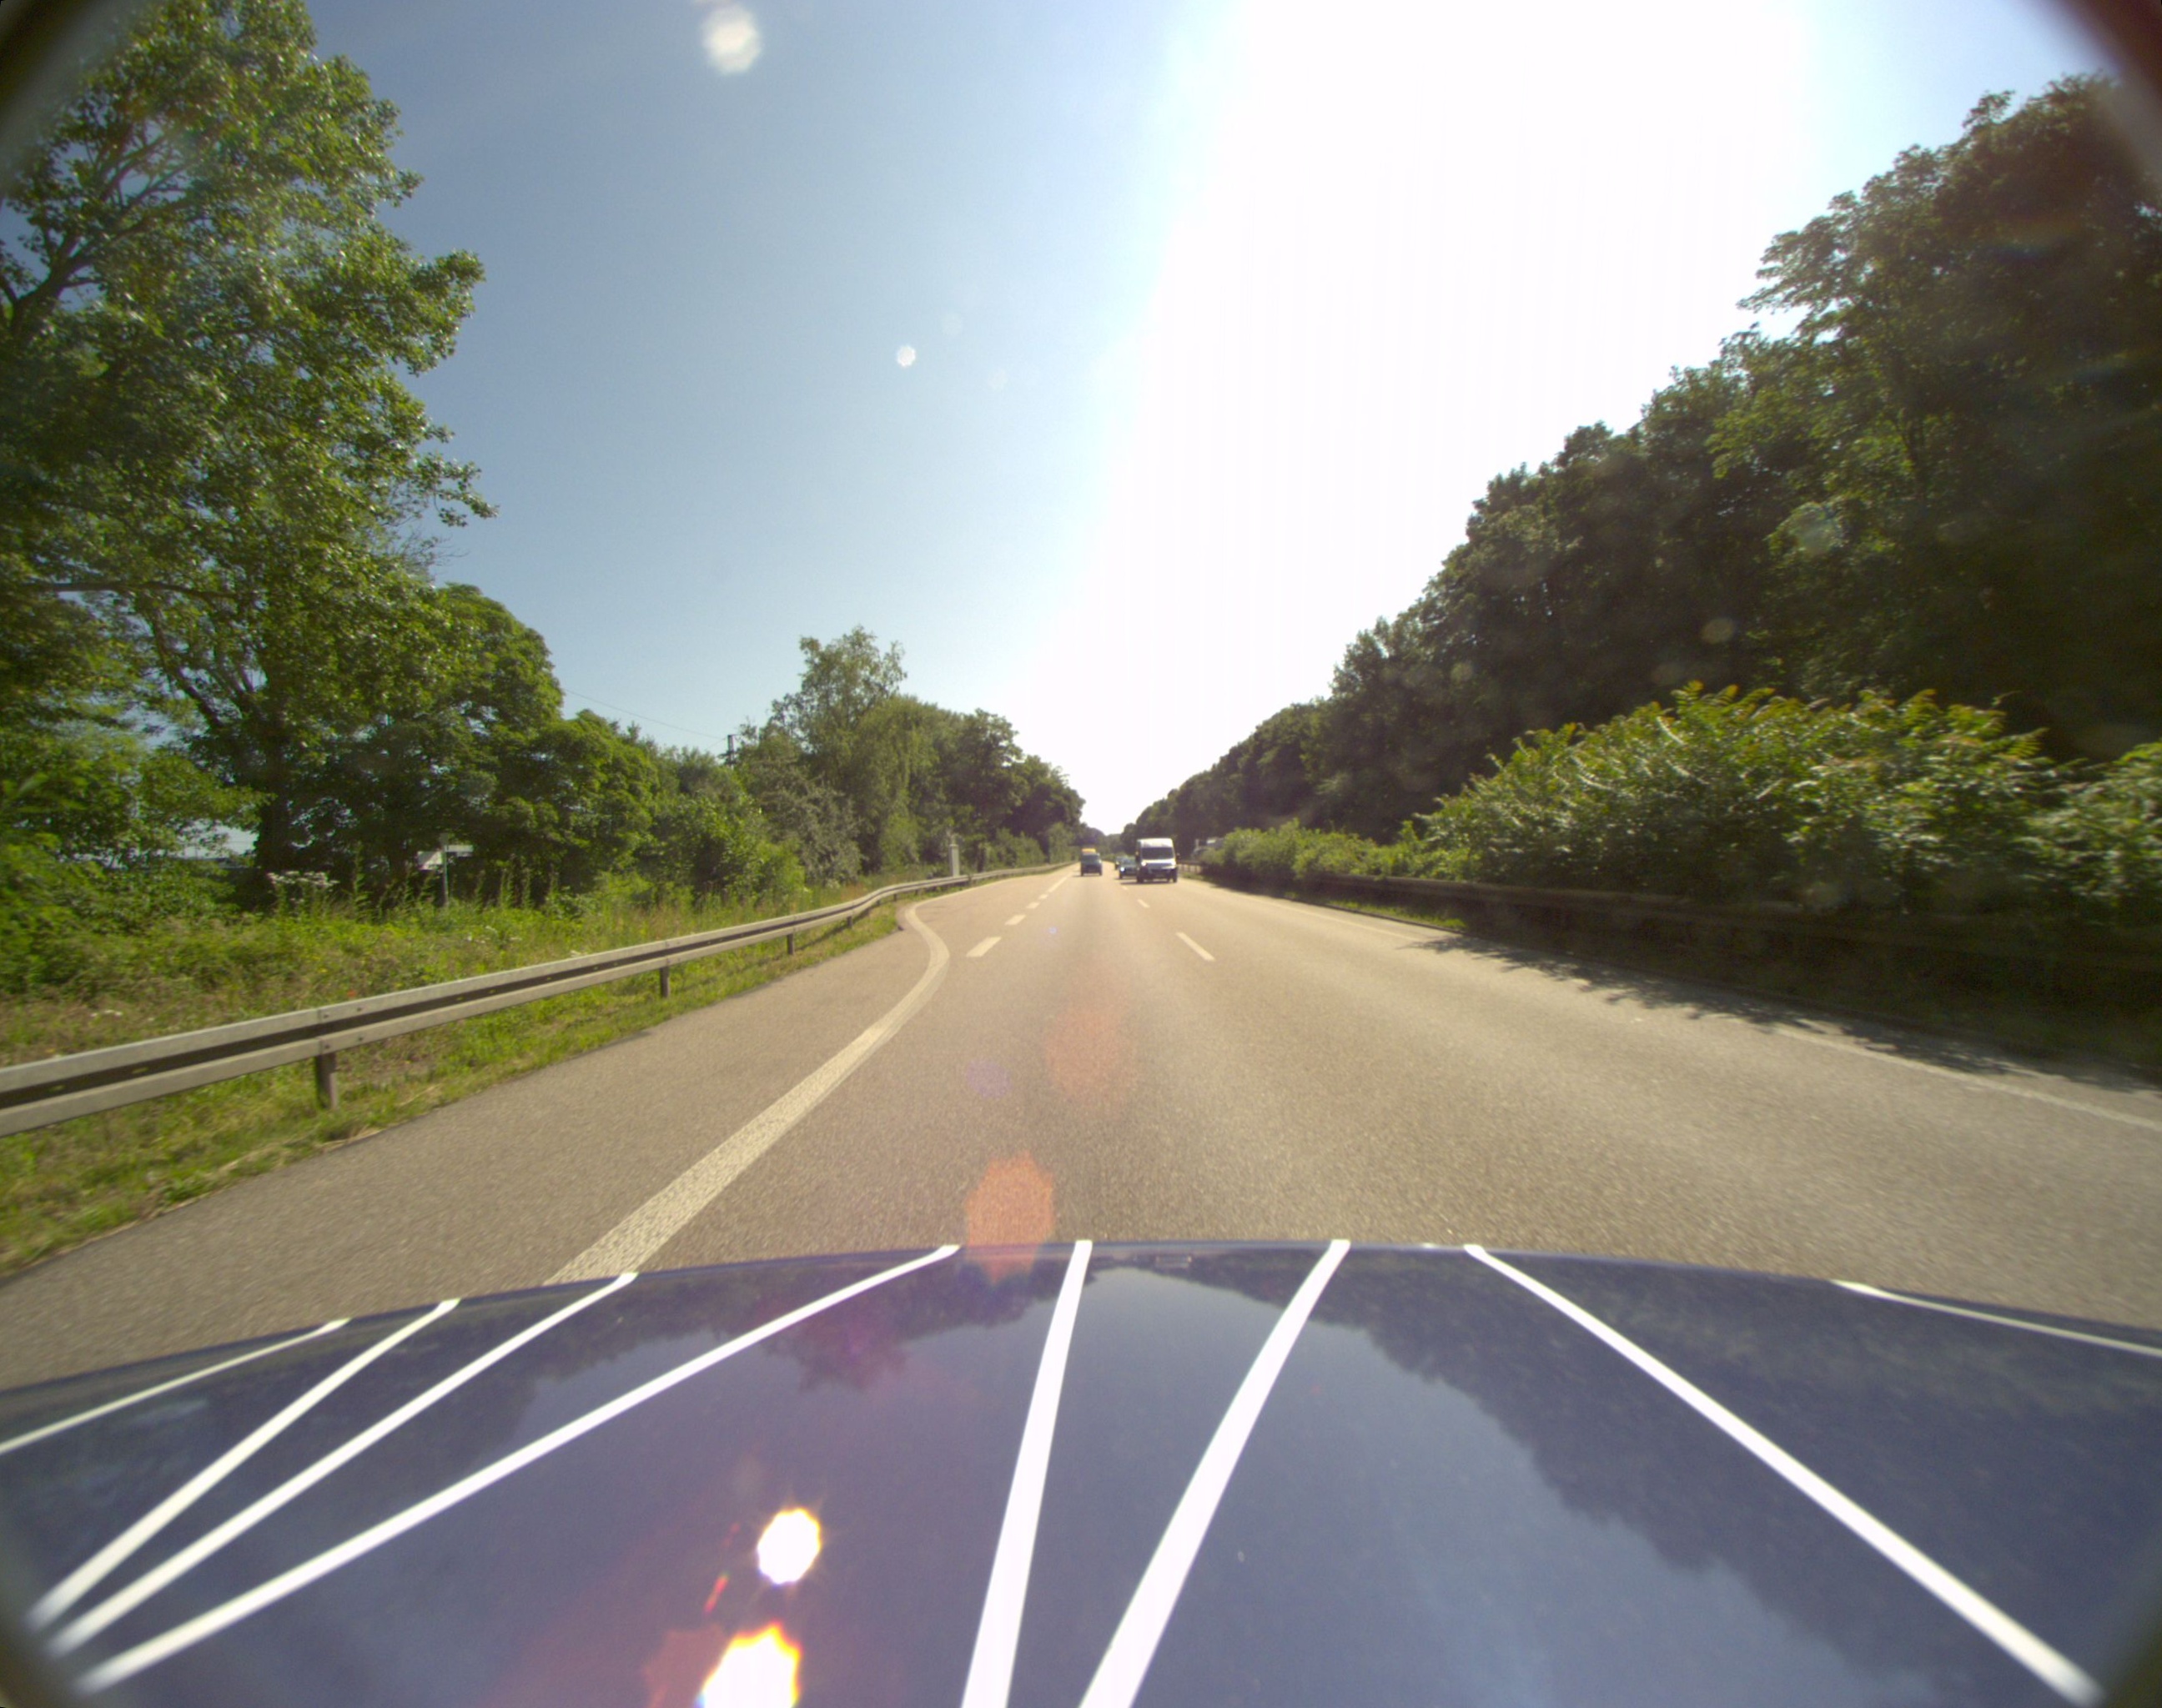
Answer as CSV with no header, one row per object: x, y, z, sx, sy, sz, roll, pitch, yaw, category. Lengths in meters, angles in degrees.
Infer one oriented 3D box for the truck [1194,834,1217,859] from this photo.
16.792,-1.012,102.828,2.431,3.239,4.000,-2,0,1,truck

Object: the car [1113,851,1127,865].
4.630,0.462,90.960,1.517,1.624,3.611,-2,0,1,car

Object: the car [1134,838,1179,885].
4.222,0.391,43.096,2.046,2.429,4.638,-2,0,1,car

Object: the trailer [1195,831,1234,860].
16.638,-0.975,95.470,2.499,3.216,14.431,-2,0,1,trailer

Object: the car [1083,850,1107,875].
1.122,0.699,63.059,1.812,1.921,4.581,-2,0,1,car

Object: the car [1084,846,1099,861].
1.255,-0.069,91.569,1.737,1.624,3.899,-2,0,1,car

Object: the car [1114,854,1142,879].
3.214,0.816,52.453,1.666,1.624,3.644,-2,0,1,car
